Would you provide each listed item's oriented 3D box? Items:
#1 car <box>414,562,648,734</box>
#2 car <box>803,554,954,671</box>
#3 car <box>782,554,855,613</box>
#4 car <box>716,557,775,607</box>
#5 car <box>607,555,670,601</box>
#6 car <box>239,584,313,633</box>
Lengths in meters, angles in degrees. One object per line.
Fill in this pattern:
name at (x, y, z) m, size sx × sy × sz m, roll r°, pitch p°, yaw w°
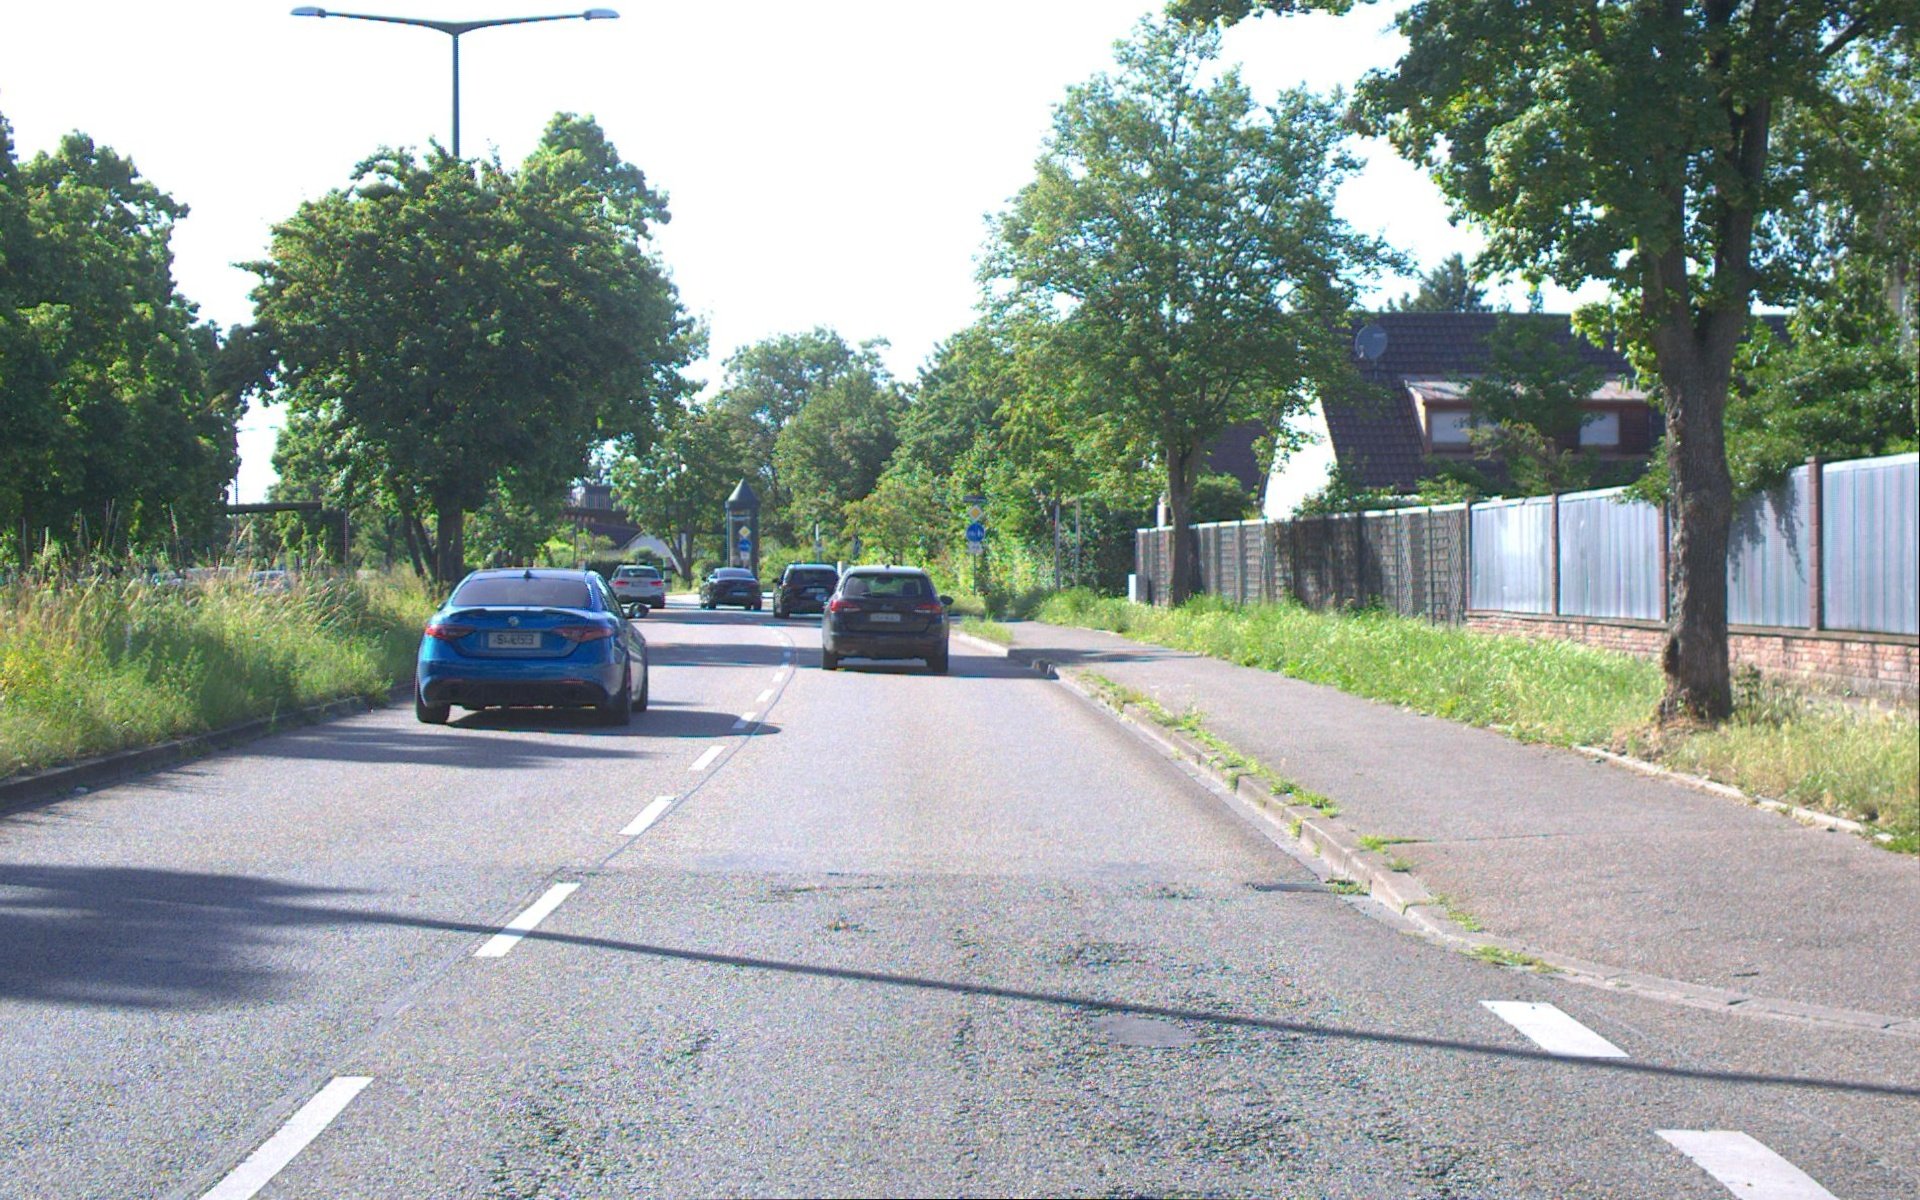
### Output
car at (-3.926, 0.421, 32.042) m, size 1.838 × 1.469 × 4.185 m, roll 1°, pitch 0°, yaw -3°
car at (-1.200, 0.143, 48.936) m, size 1.915 × 1.574 × 4.183 m, roll 1°, pitch 1°, yaw -4°
car at (-3.959, -0.464, 95.868) m, size 1.915 × 1.574 × 4.183 m, roll 1°, pitch 0°, yaw -3°
car at (-7.522, -0.631, 120.286) m, size 1.915 × 1.672 × 4.013 m, roll 1°, pitch 0°, yaw -5°
car at (-10.860, -0.749, 116.347) m, size 1.915 × 1.507 × 4.068 m, roll 1°, pitch 1°, yaw -3°
car at (-22.144, 0.266, 111.369) m, size 1.669 × 1.462 × 4.180 m, roll -2°, pitch 1°, yaw -3°
